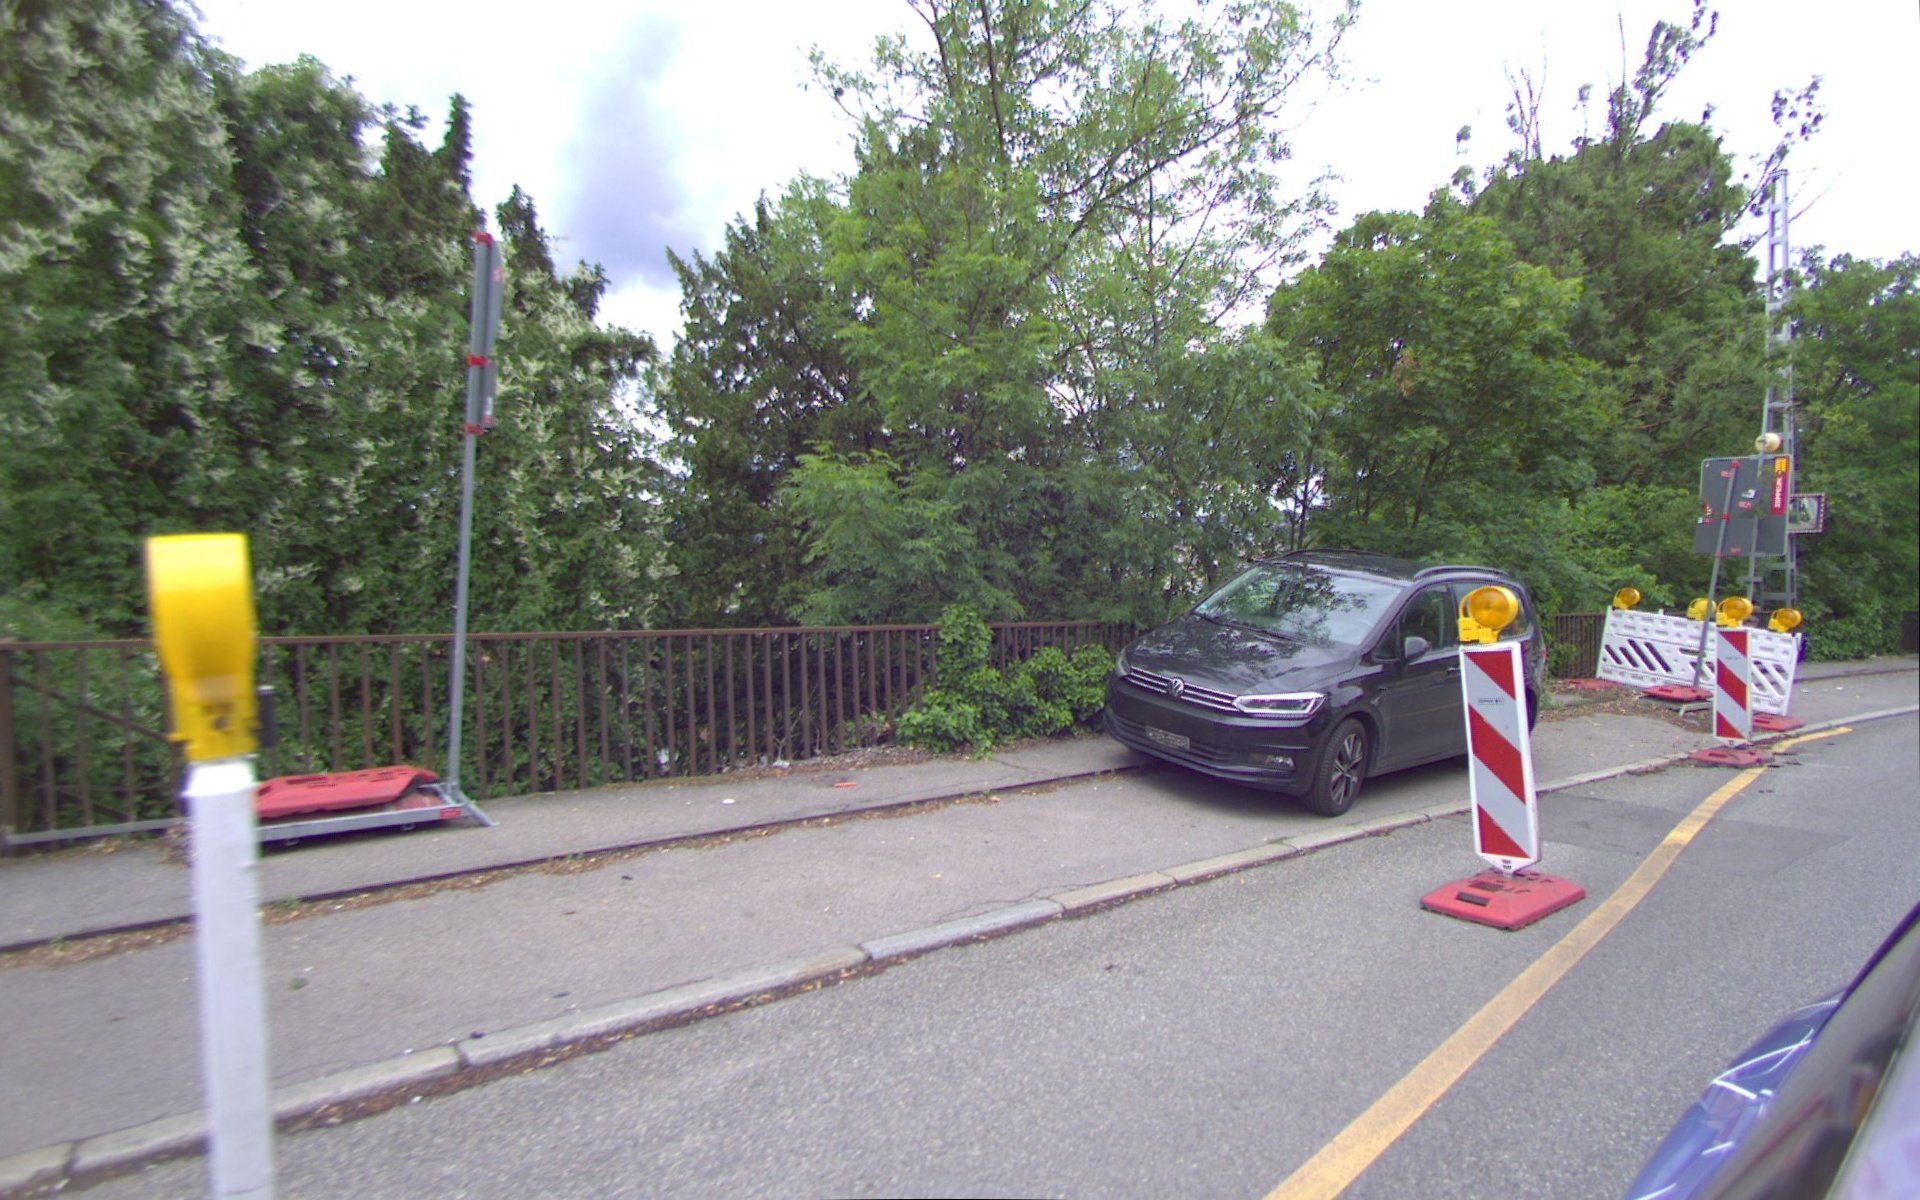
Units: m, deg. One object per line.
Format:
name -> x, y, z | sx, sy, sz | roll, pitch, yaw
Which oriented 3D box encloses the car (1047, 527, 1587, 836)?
car -> 3.015, 0.412, 8.016 | 4.564, 1.693, 1.867 | 0, 6, -40
